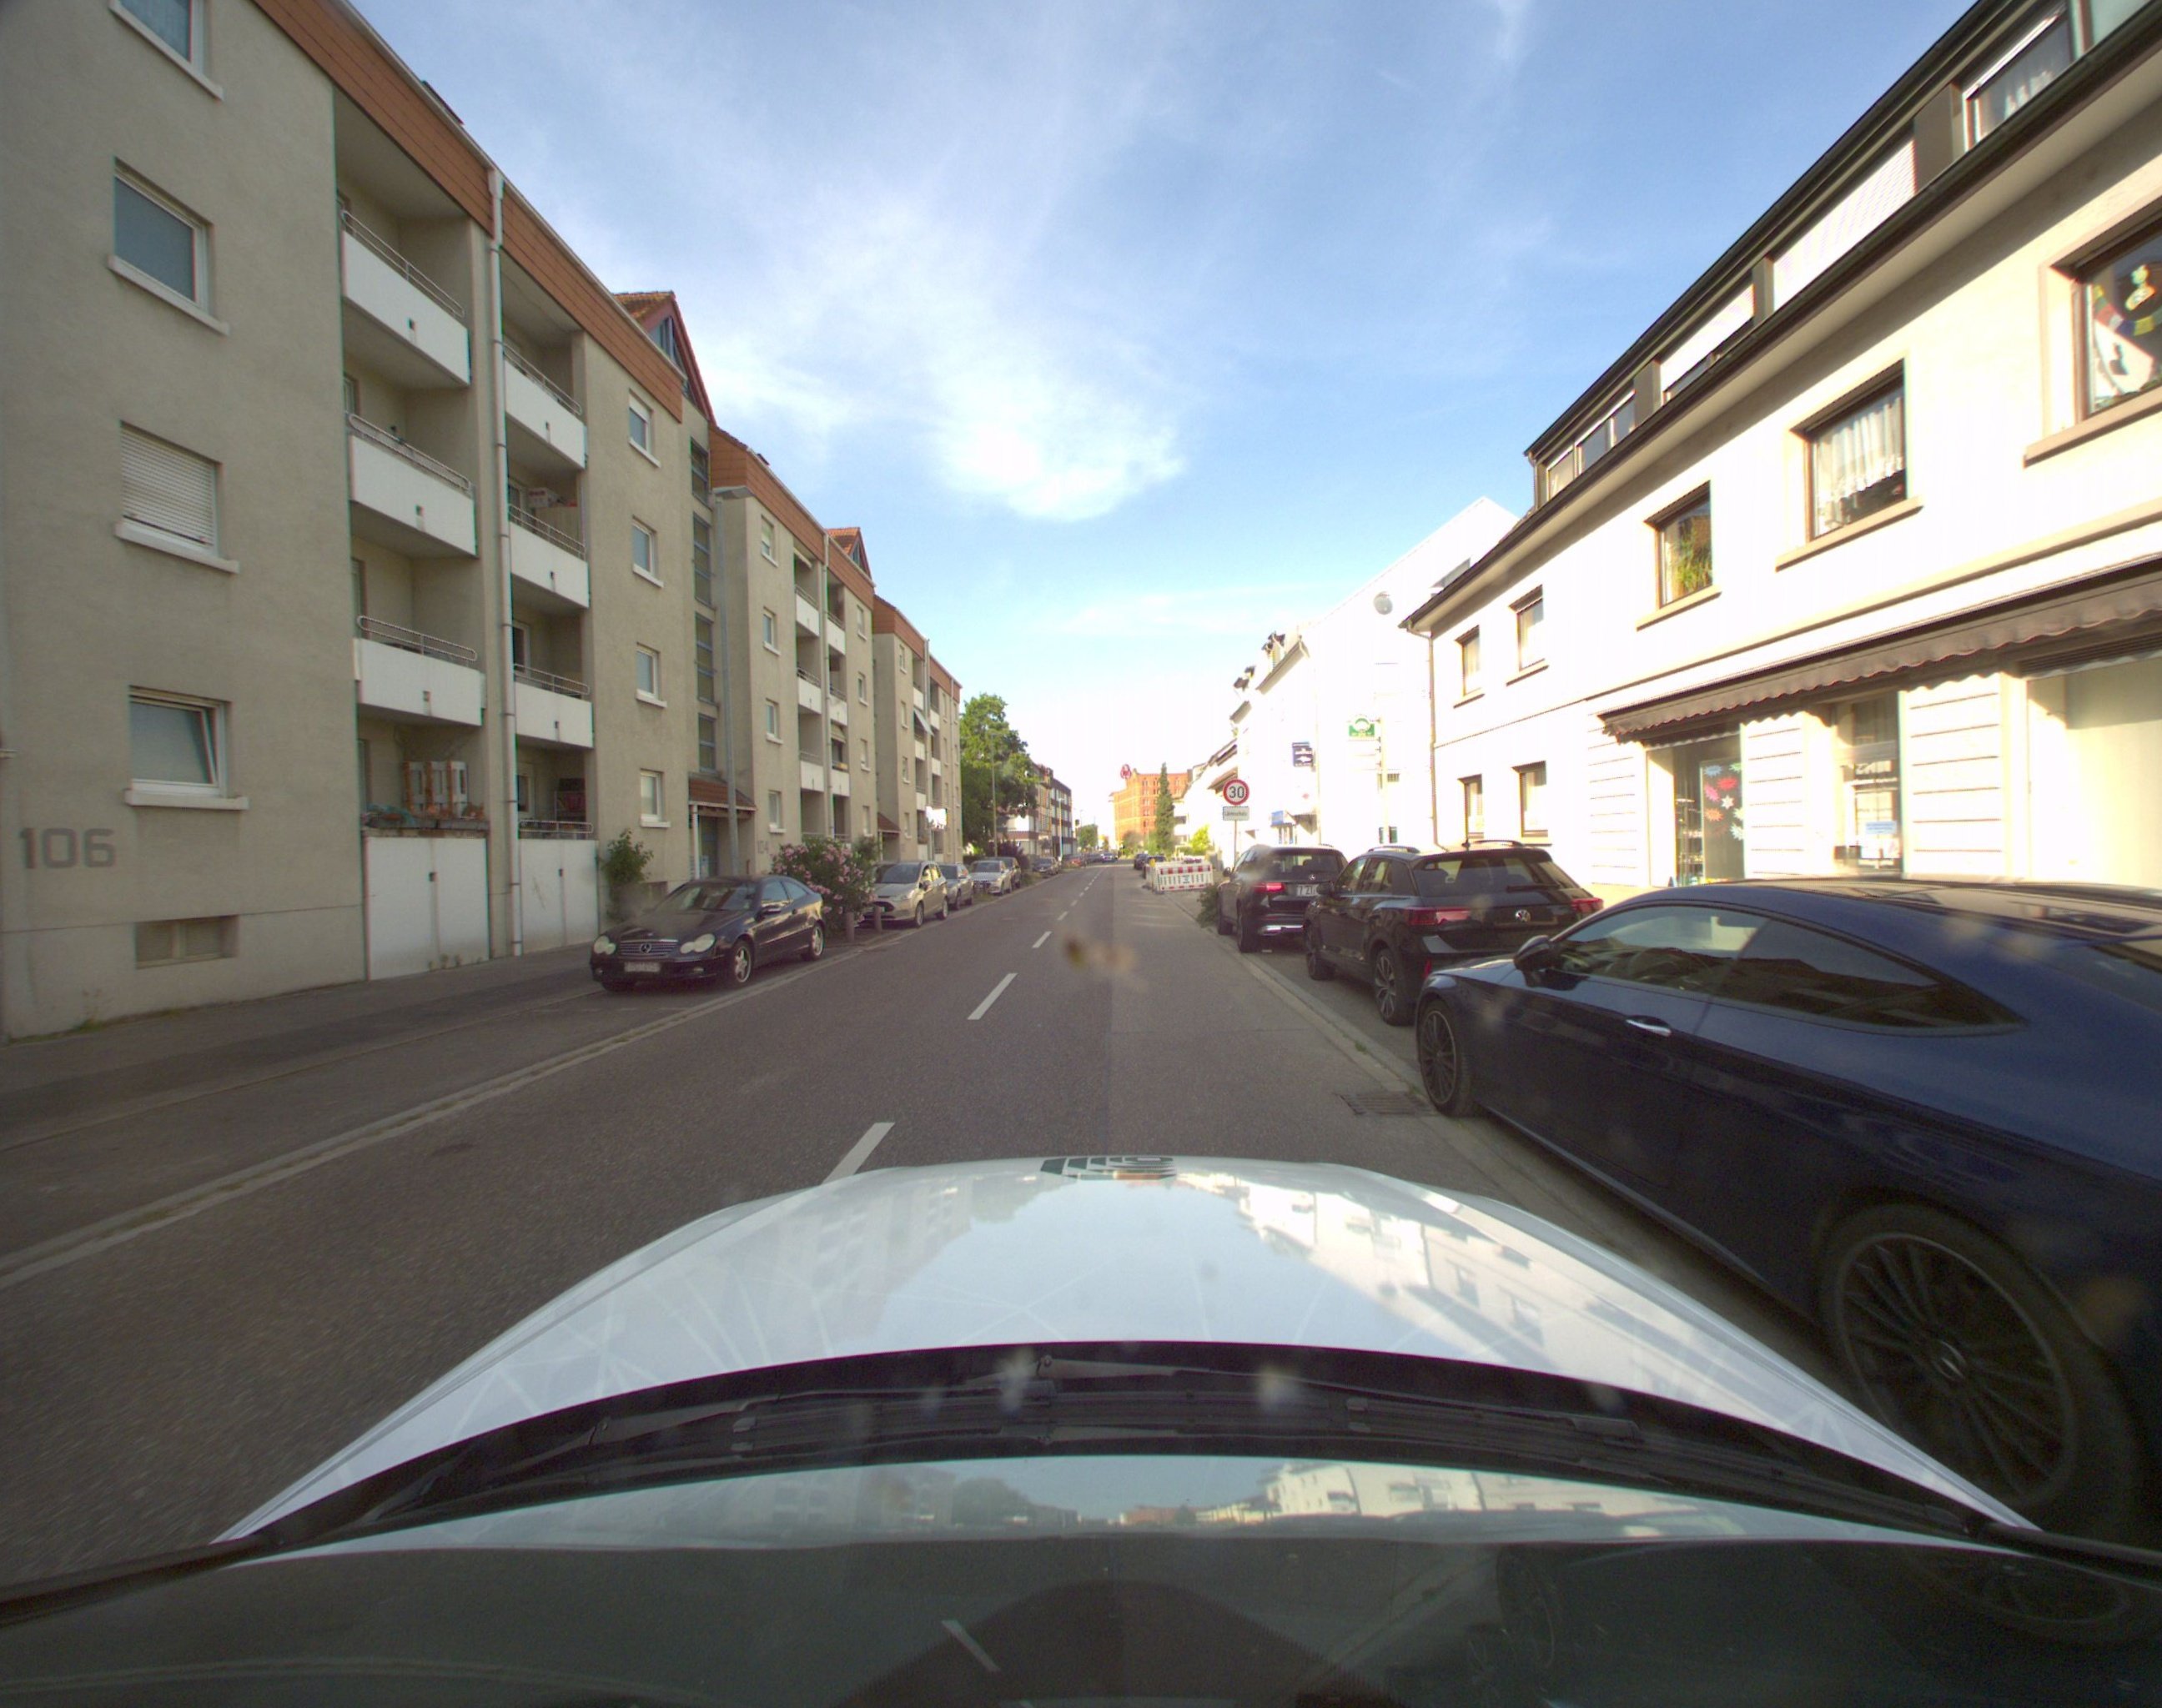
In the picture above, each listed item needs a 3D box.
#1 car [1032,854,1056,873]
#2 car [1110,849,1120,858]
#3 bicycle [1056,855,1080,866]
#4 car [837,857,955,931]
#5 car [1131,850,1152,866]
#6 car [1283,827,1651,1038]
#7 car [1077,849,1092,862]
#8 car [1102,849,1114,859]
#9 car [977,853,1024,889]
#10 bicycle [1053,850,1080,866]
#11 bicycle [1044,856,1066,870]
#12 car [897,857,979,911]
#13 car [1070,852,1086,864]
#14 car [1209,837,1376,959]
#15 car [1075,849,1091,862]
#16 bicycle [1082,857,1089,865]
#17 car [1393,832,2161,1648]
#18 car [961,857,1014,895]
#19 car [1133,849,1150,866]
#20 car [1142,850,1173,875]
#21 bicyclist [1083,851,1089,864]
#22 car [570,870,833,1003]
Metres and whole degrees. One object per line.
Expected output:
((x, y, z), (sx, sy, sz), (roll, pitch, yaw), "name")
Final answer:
((-2.937, 0.748, 64.714), (1.567, 1.420, 3.805), (-1, 0, 2), "car")
((6.614, -0.070, 157.434), (1.756, 1.616, 4.002), (-3, 0, 2), "car")
((-1.526, 0.729, 95.214), (2.761, 1.144, 1.144), (-2, 0, 3), "bicycle")
((-4.419, 0.901, 20.072), (1.719, 1.555, 3.969), (-1, 0, 4), "car")
((5.702, 0.371, 77.540), (1.852, 1.472, 4.002), (0, 0, 2), "car")
((3.532, 0.605, 8.494), (1.823, 1.560, 4.318), (-3, 0, 1), "car")
((0.555, 0.169, 123.090), (1.985, 1.907, 4.004), (-2, 0, 3), "car")
((4.311, -0.008, 130.059), (1.756, 1.616, 4.002), (-3, 0, 2), "car")
((-3.905, 0.790, 40.170), (1.679, 1.603, 4.372), (-1, 0, 2), "car")
((-1.622, 0.445, 93.444), (2.905, 1.777, 1.203), (-2, 0, 3), "bicycle")
((-2.483, 0.848, 76.678), (1.996, 1.217, 0.707), (-2, 0, -4), "bicycle")
((-4.508, 0.901, 26.300), (1.801, 1.521, 4.371), (-1, 0, 1), "car")
((-0.336, 0.506, 103.099), (1.832, 1.464, 3.587), (-2, 0, 3), "car")
((3.326, 0.605, 13.693), (1.822, 1.630, 4.467), (-3, 0, 4), "car")
((0.282, 0.211, 119.017), (1.985, 1.911, 3.693), (-2, 0, 3), "car")
((0.544, 0.795, 93.928), (0.606, 0.942, 1.813), (-3, 0, 4), "bicycle")
((2.899, 0.673, 3.057), (1.822, 1.420, 4.612), (-3, 0, 2), "car")
((-3.933, 0.882, 34.754), (1.680, 1.454, 4.142), (-1, 0, 1), "car")
((6.126, 0.337, 82.949), (1.595, 1.646, 3.687), (-1, 0, 2), "car")
((4.988, 0.538, 53.467), (1.822, 1.482, 3.946), (-3, 0, 3), "car")
((0.532, 0.398, 93.993), (0.588, 1.442, 0.751), (-3, 0, 3), "bicyclist")
((-5.033, 0.996, 11.497), (1.680, 1.405, 4.085), (-1, 0, 1), "car")
